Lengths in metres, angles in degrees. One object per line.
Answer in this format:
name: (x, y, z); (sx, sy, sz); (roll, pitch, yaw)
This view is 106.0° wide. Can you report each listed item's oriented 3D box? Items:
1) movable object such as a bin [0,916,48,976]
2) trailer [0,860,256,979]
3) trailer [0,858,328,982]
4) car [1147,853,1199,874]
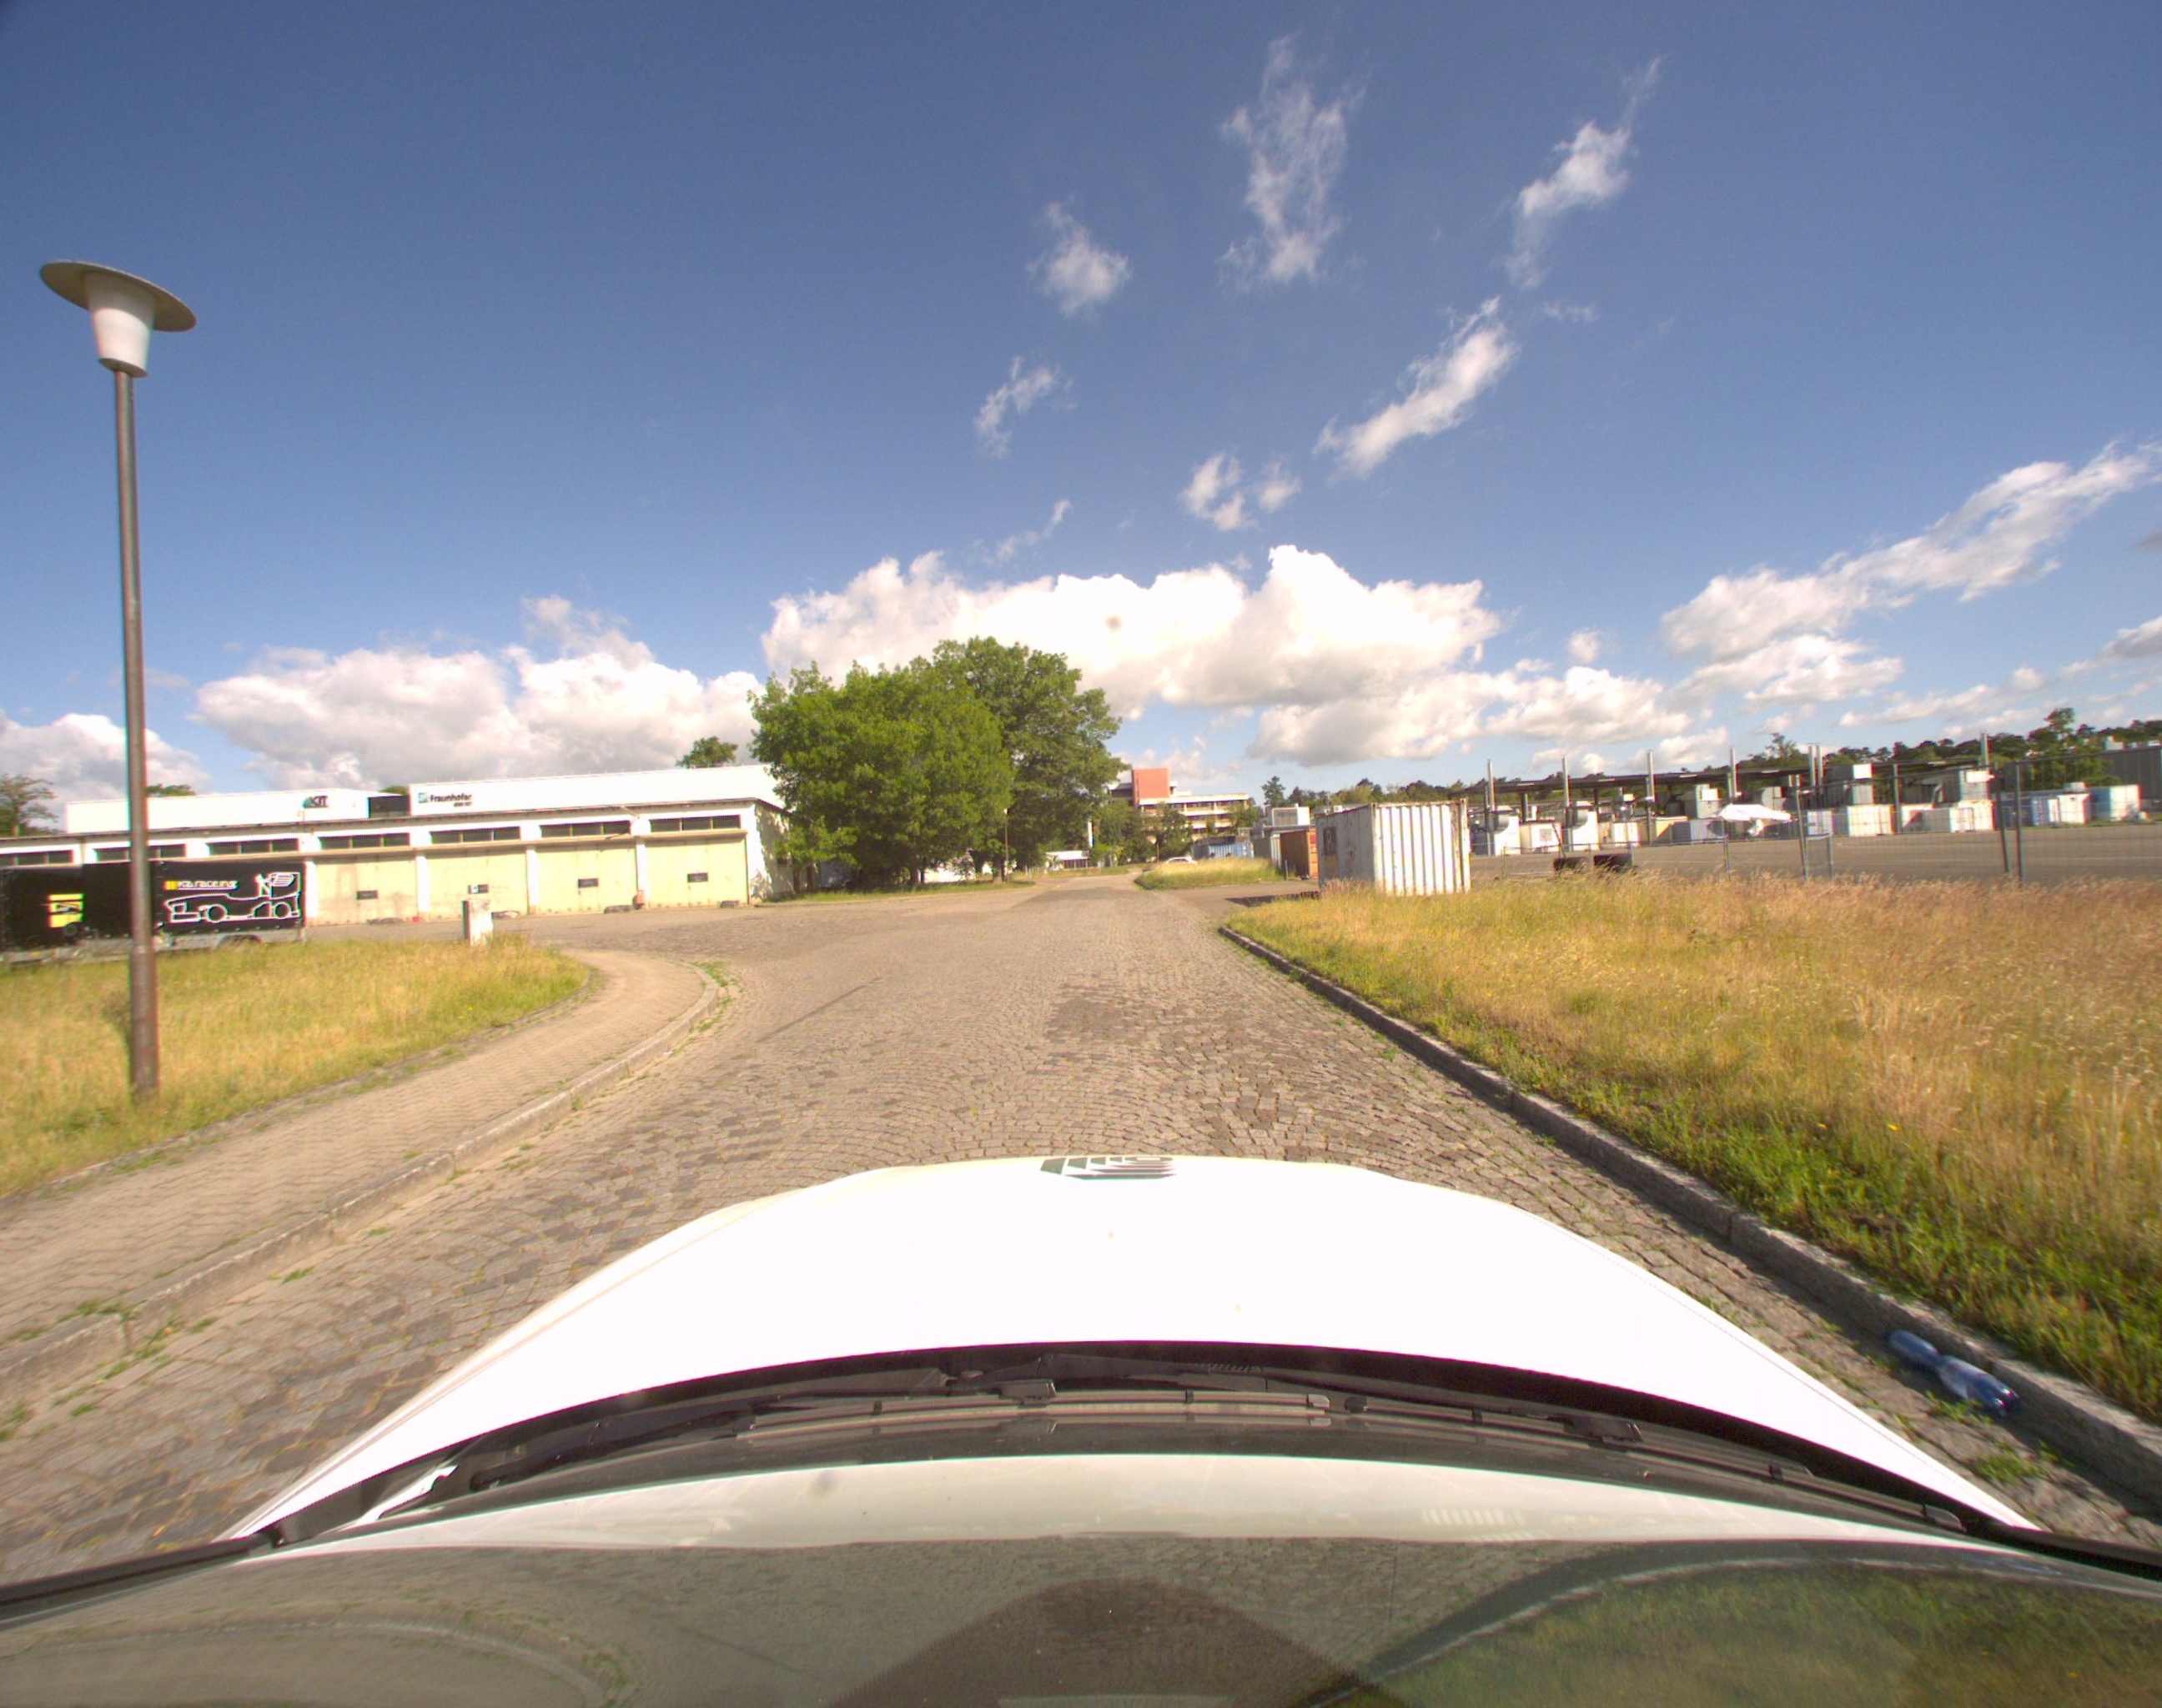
movable object such as a bin: (-27.298, 2.330, 20.175); (1.531, 1.386, 1.381); (-3, -1, -11)
trailer: (-22.442, 1.385, 18.617); (2.083, 2.355, 4.971); (-3, -1, -2)
trailer: (-20.118, 1.303, 18.128); (2.121, 2.298, 4.673); (-3, -1, 3)
car: (8.396, 0.913, 74.876); (4.490, 1.647, 1.999); (-3, -1, -1)
